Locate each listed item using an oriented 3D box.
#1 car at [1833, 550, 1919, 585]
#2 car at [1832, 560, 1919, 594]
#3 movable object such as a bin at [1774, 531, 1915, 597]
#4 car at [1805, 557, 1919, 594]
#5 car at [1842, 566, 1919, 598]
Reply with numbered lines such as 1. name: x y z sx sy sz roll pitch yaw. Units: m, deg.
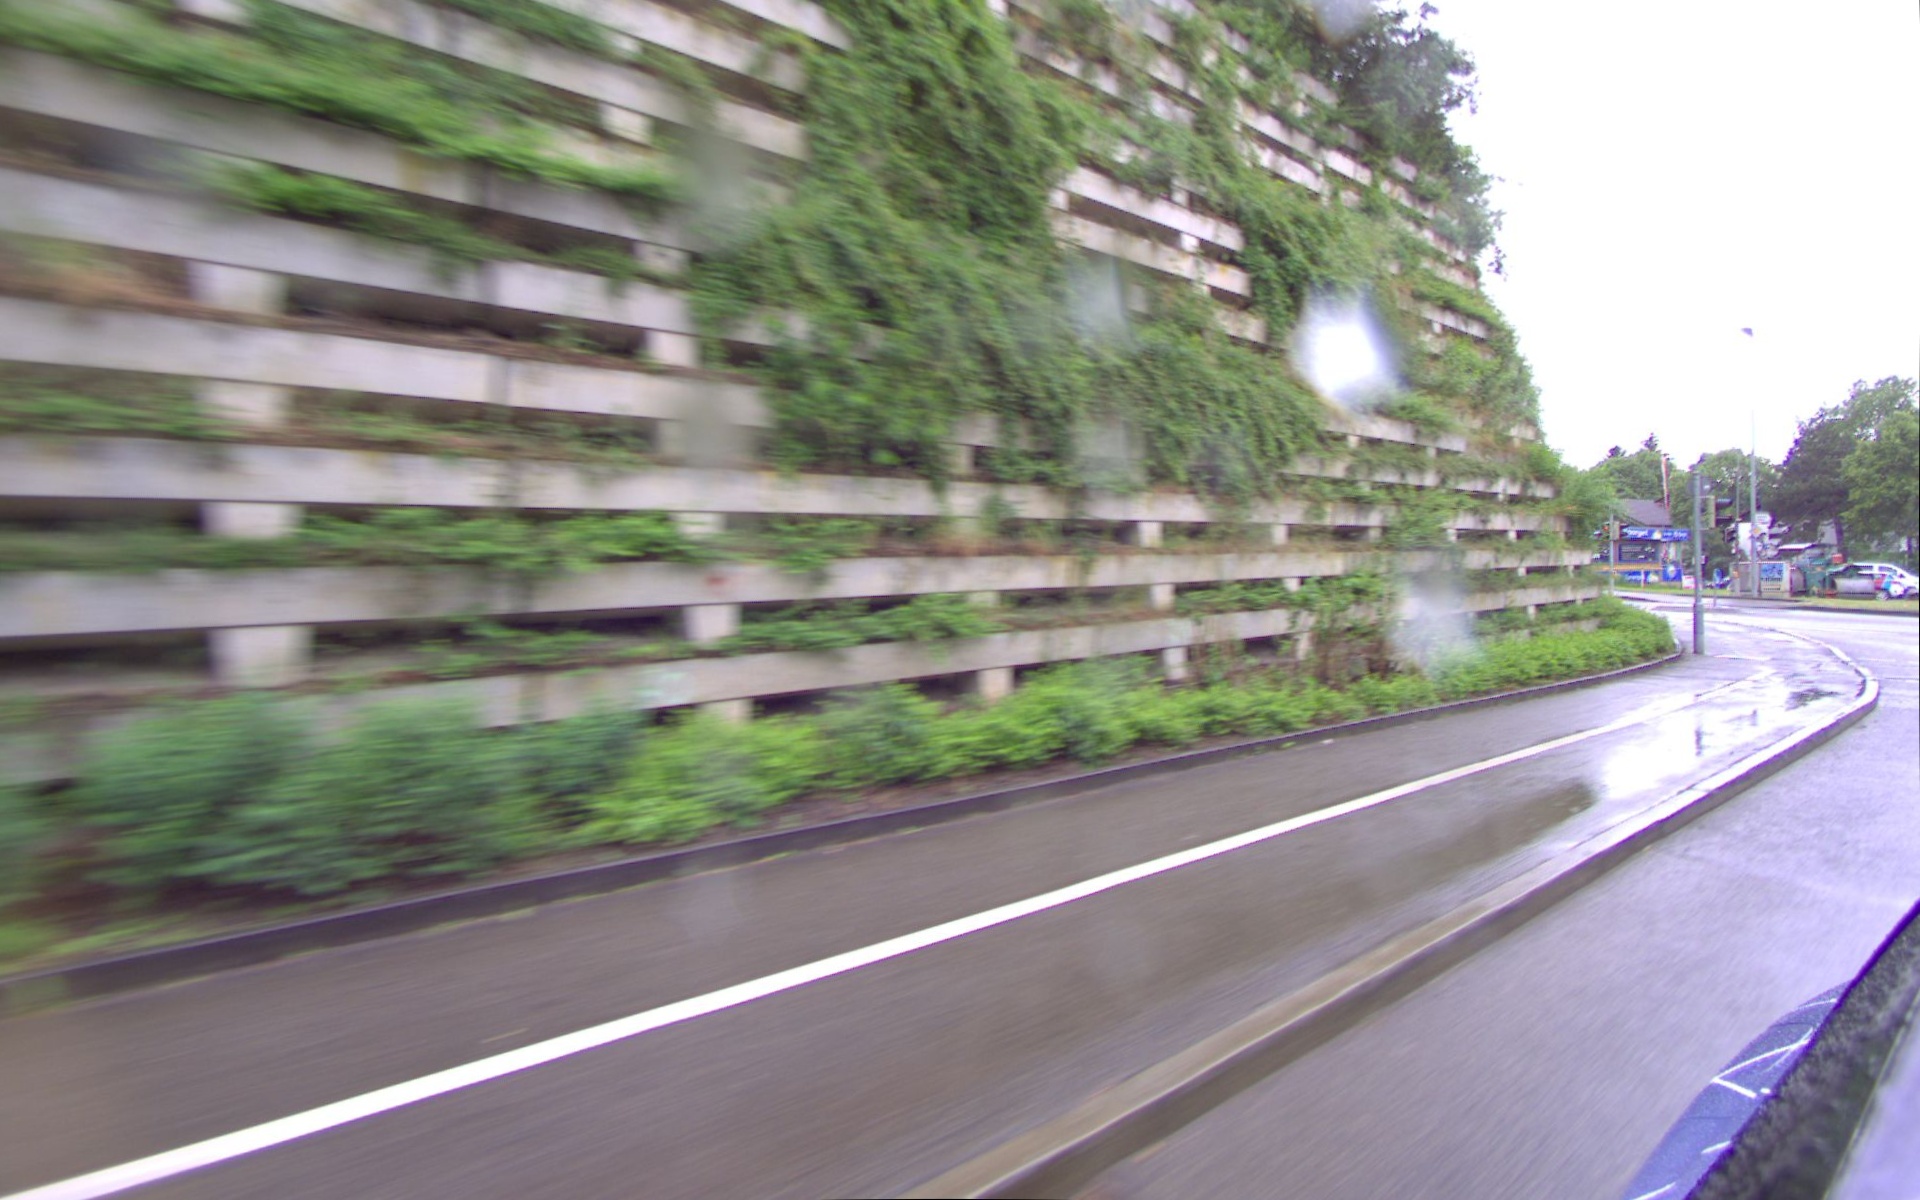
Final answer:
1. car: 52.784 -1.857 57.585 1.888 1.787 4.387 -1 4 -39
2. car: 47.751 -1.226 52.392 1.564 1.593 3.708 -1 4 -39
3. movable object such as a bin: 39.738 -1.603 45.710 2.277 2.719 5.681 2 2 14
4. car: 43.973 -1.228 49.323 1.641 1.593 3.996 -1 4 -40
5. car: 49.564 -0.953 53.894 1.564 1.529 3.625 -1 4 -39
